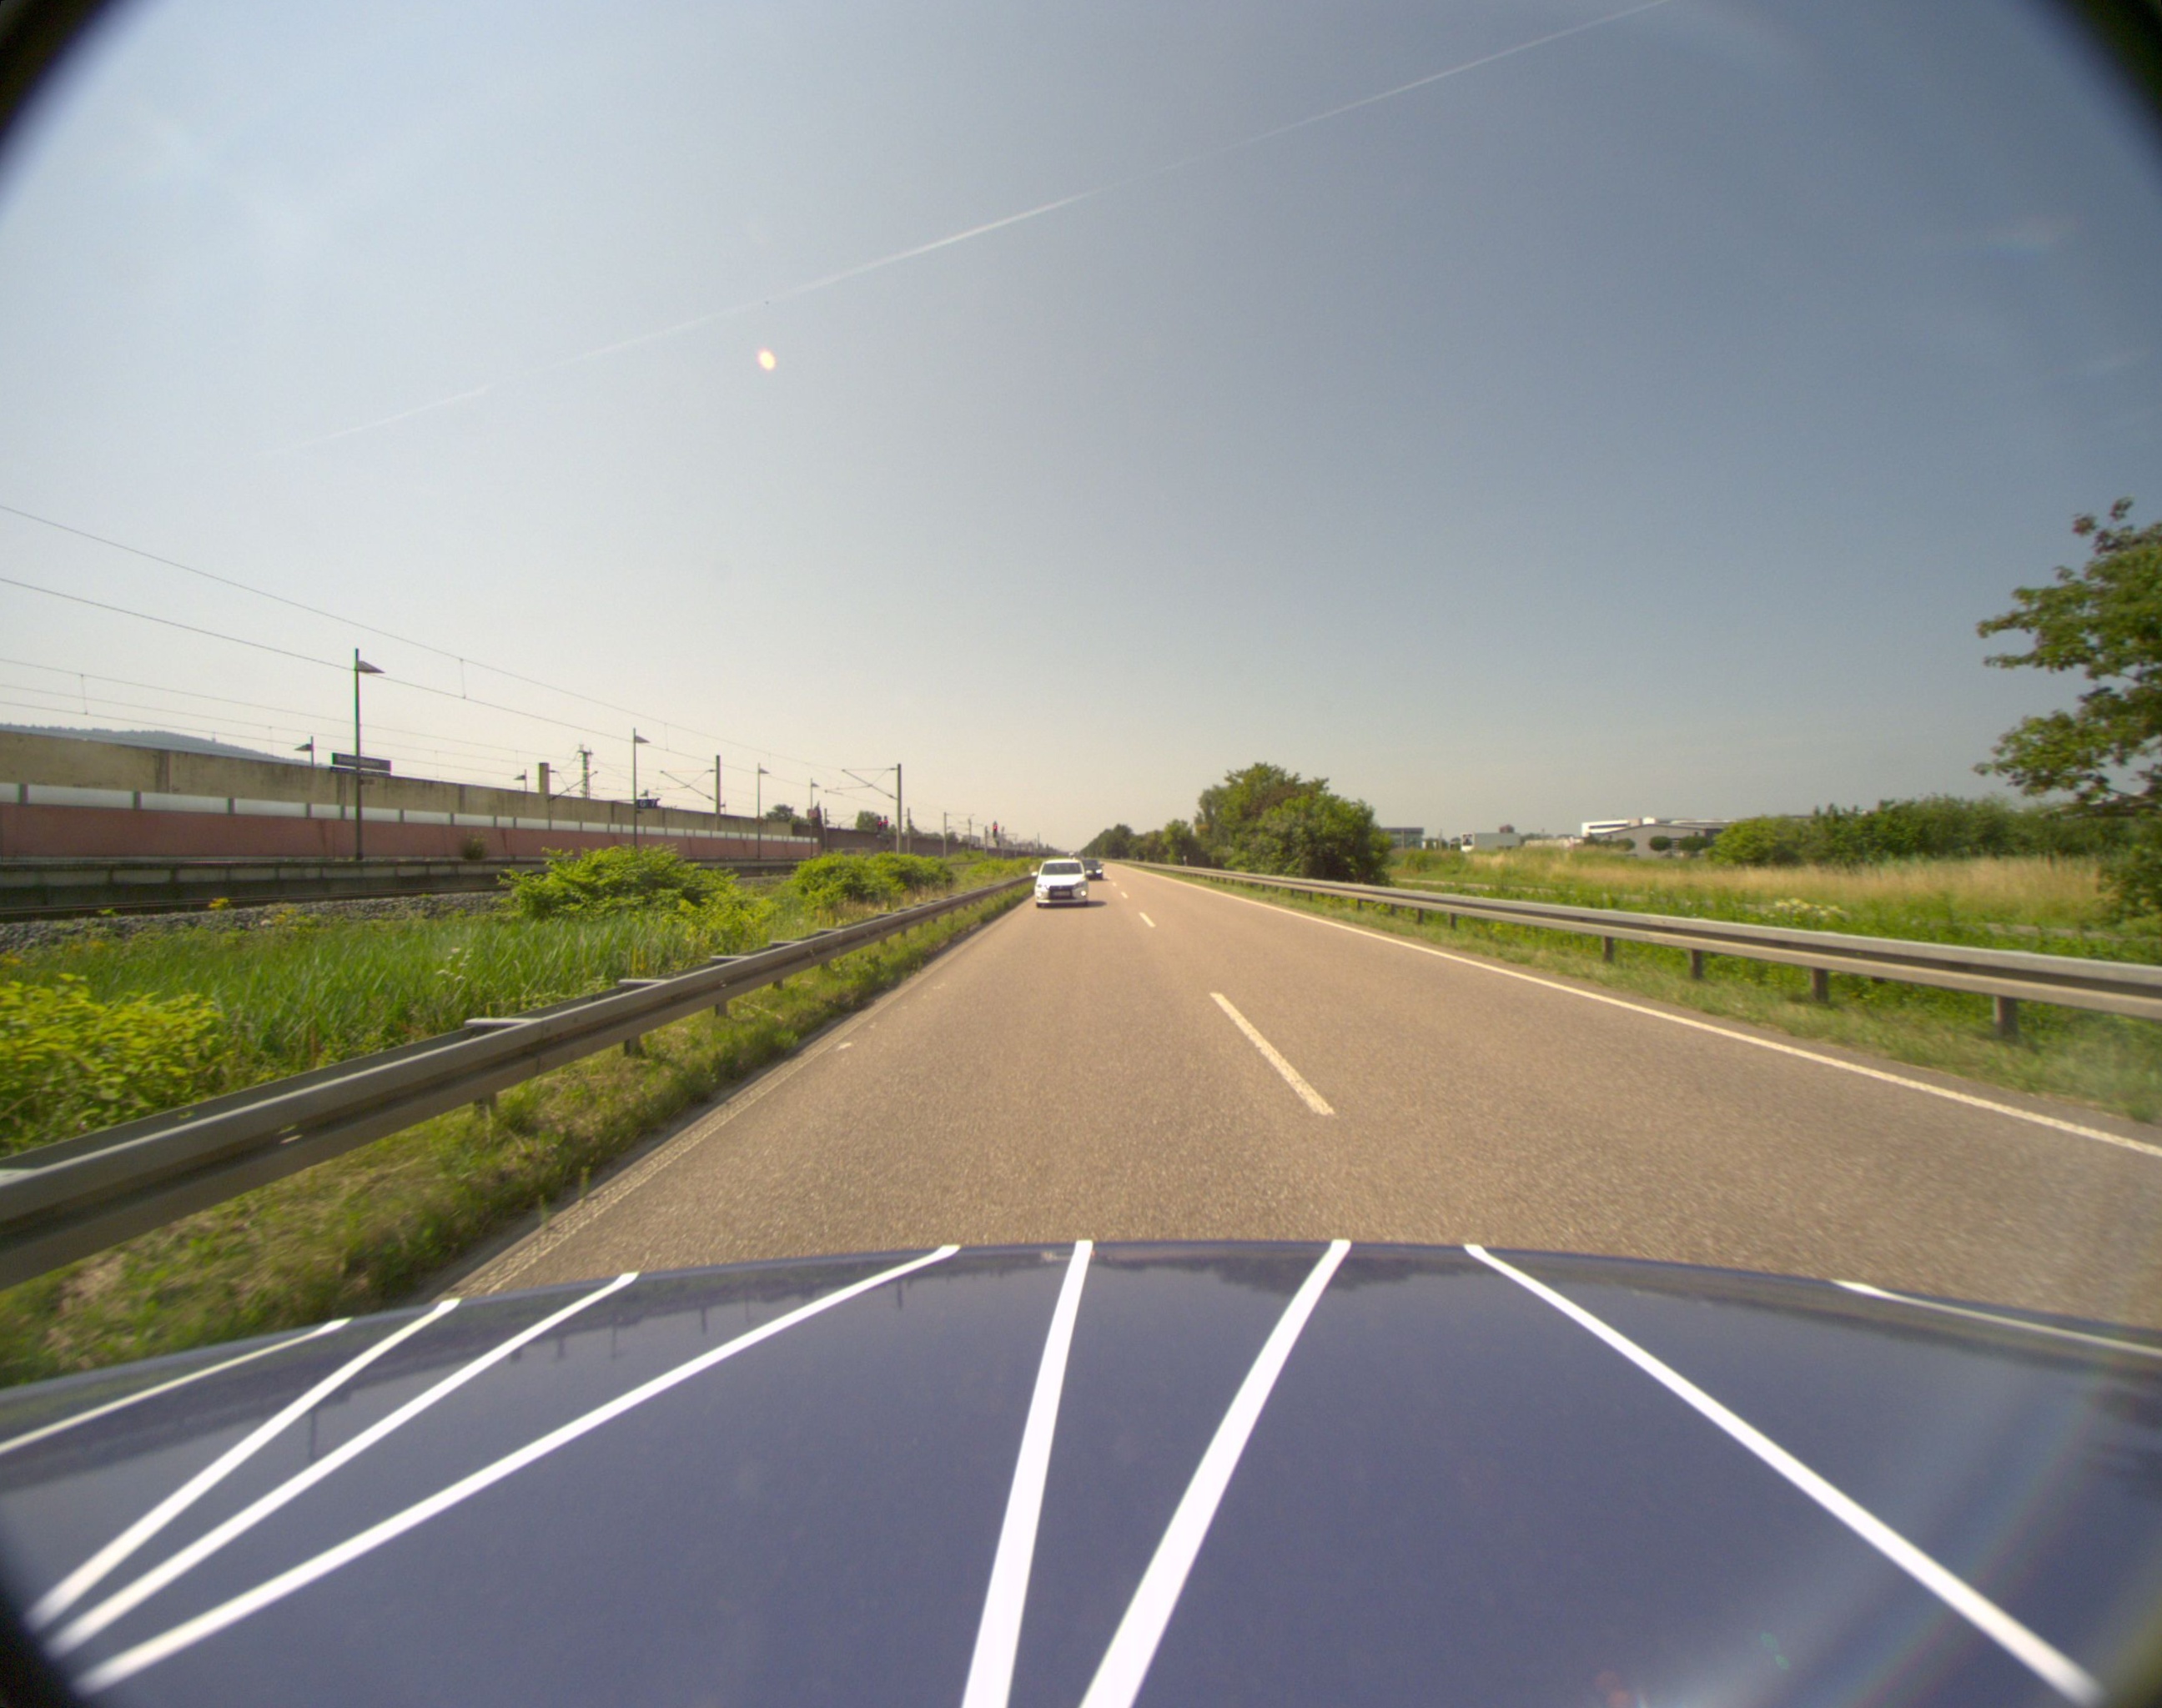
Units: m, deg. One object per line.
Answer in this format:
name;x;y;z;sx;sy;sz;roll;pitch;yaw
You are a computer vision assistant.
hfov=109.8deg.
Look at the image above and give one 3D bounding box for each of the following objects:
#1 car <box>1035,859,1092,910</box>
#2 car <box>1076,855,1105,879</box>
car;-0.576;0.939;24.995;1.701;1.470;4.154;-1;0;-1
car;0.588;0.830;50.406;1.711;1.470;4.154;-1;0;-1
